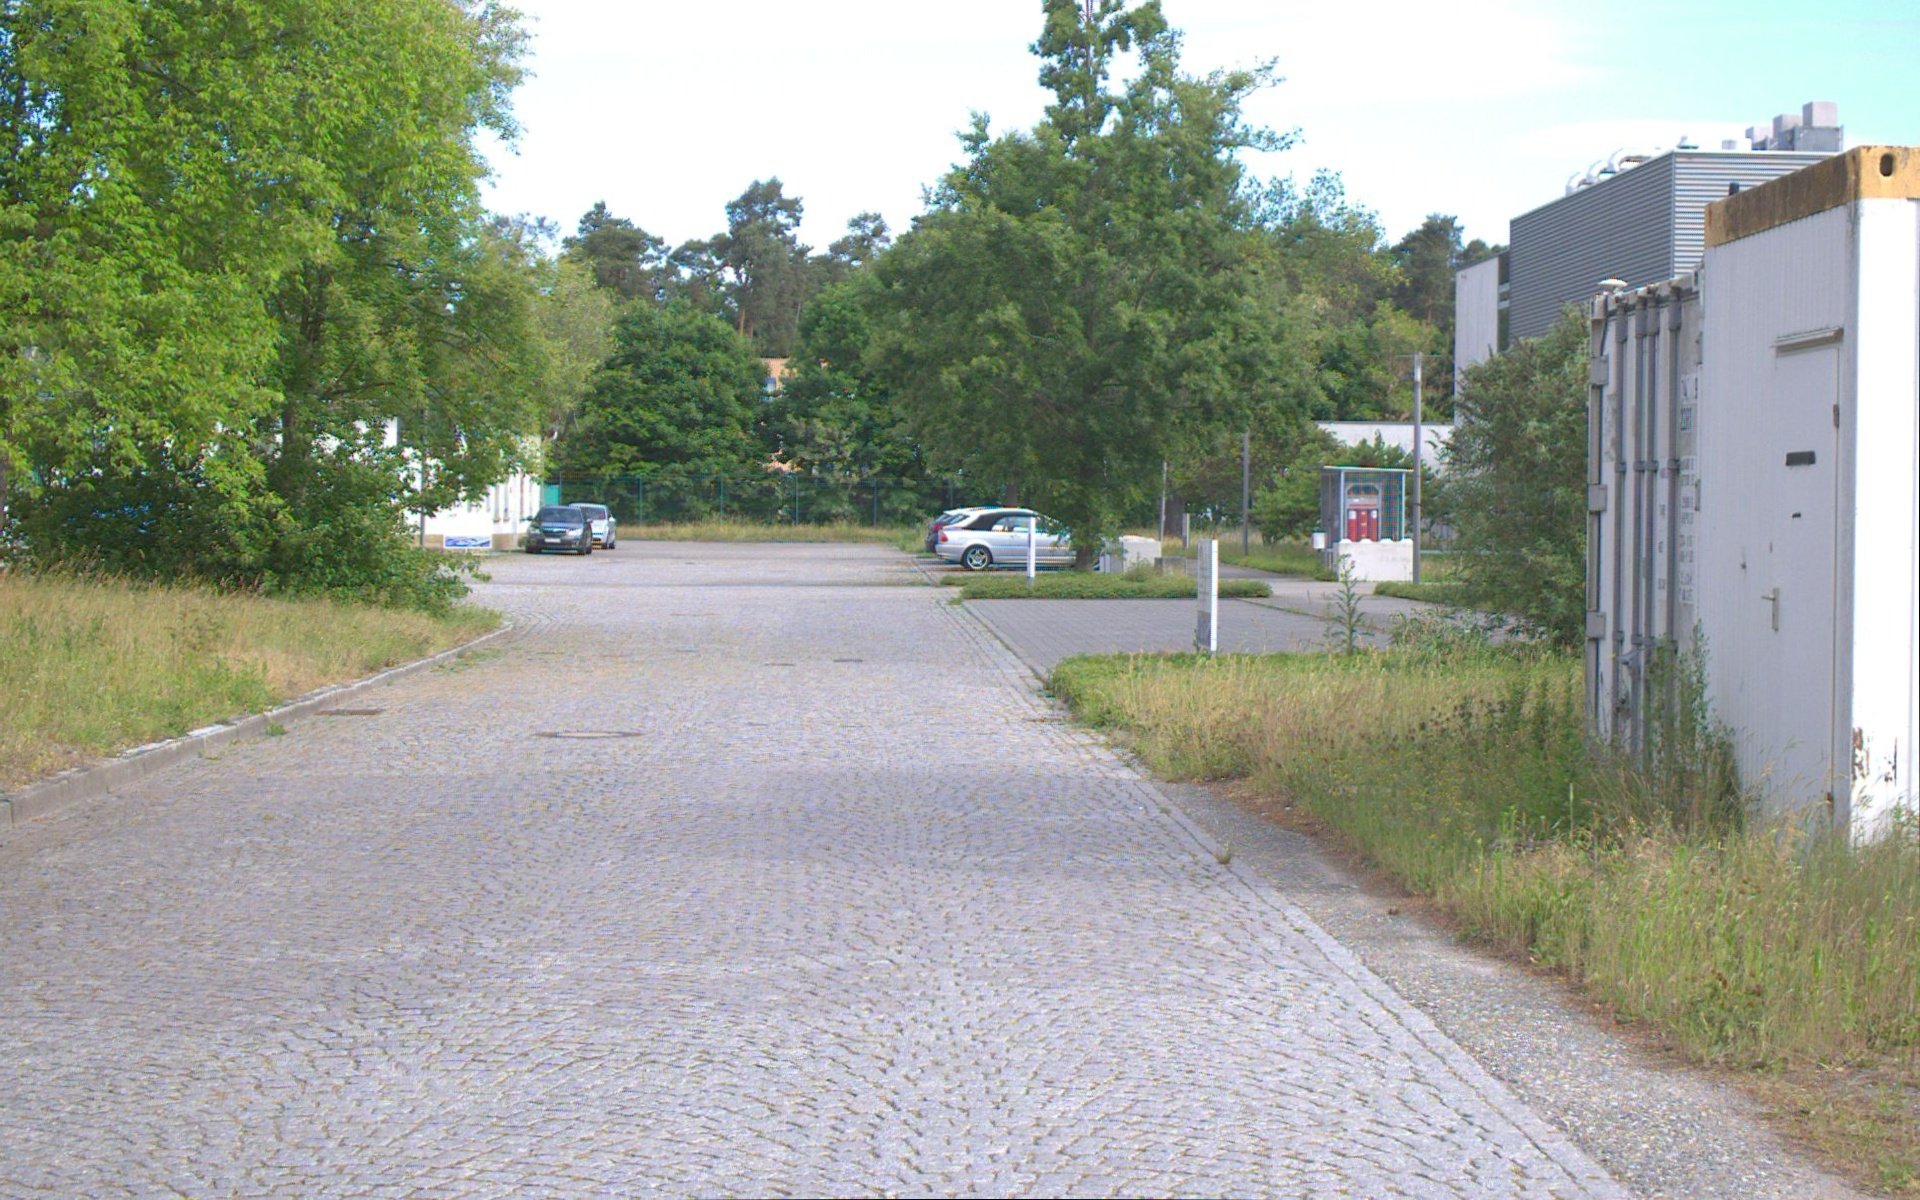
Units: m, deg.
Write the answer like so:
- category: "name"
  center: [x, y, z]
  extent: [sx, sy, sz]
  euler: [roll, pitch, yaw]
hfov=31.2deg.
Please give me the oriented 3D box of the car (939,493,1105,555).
- category: "car"
  center: [1.491, -1.877, 84.376]
  extent: [3.984, 1.443, 1.653]
  euler: [-1, 2, -1]

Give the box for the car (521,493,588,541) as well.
- category: "car"
  center: [-12.116, -2.497, 102.876]
  extent: [1.647, 1.364, 3.998]
  euler: [1, 2, -2]

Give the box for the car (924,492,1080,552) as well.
- category: "car"
  center: [1.071, -2.031, 89.497]
  extent: [3.984, 1.470, 1.653]
  euler: [-1, 2, -1]

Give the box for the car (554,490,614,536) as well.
- category: "car"
  center: [-12.375, -2.874, 113.210]
  extent: [1.647, 1.453, 3.998]
  euler: [1, 2, -2]

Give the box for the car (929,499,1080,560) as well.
- category: "car"
  center: [1.045, -1.680, 81.673]
  extent: [3.522, 1.357, 1.623]
  euler: [-1, 2, -1]
